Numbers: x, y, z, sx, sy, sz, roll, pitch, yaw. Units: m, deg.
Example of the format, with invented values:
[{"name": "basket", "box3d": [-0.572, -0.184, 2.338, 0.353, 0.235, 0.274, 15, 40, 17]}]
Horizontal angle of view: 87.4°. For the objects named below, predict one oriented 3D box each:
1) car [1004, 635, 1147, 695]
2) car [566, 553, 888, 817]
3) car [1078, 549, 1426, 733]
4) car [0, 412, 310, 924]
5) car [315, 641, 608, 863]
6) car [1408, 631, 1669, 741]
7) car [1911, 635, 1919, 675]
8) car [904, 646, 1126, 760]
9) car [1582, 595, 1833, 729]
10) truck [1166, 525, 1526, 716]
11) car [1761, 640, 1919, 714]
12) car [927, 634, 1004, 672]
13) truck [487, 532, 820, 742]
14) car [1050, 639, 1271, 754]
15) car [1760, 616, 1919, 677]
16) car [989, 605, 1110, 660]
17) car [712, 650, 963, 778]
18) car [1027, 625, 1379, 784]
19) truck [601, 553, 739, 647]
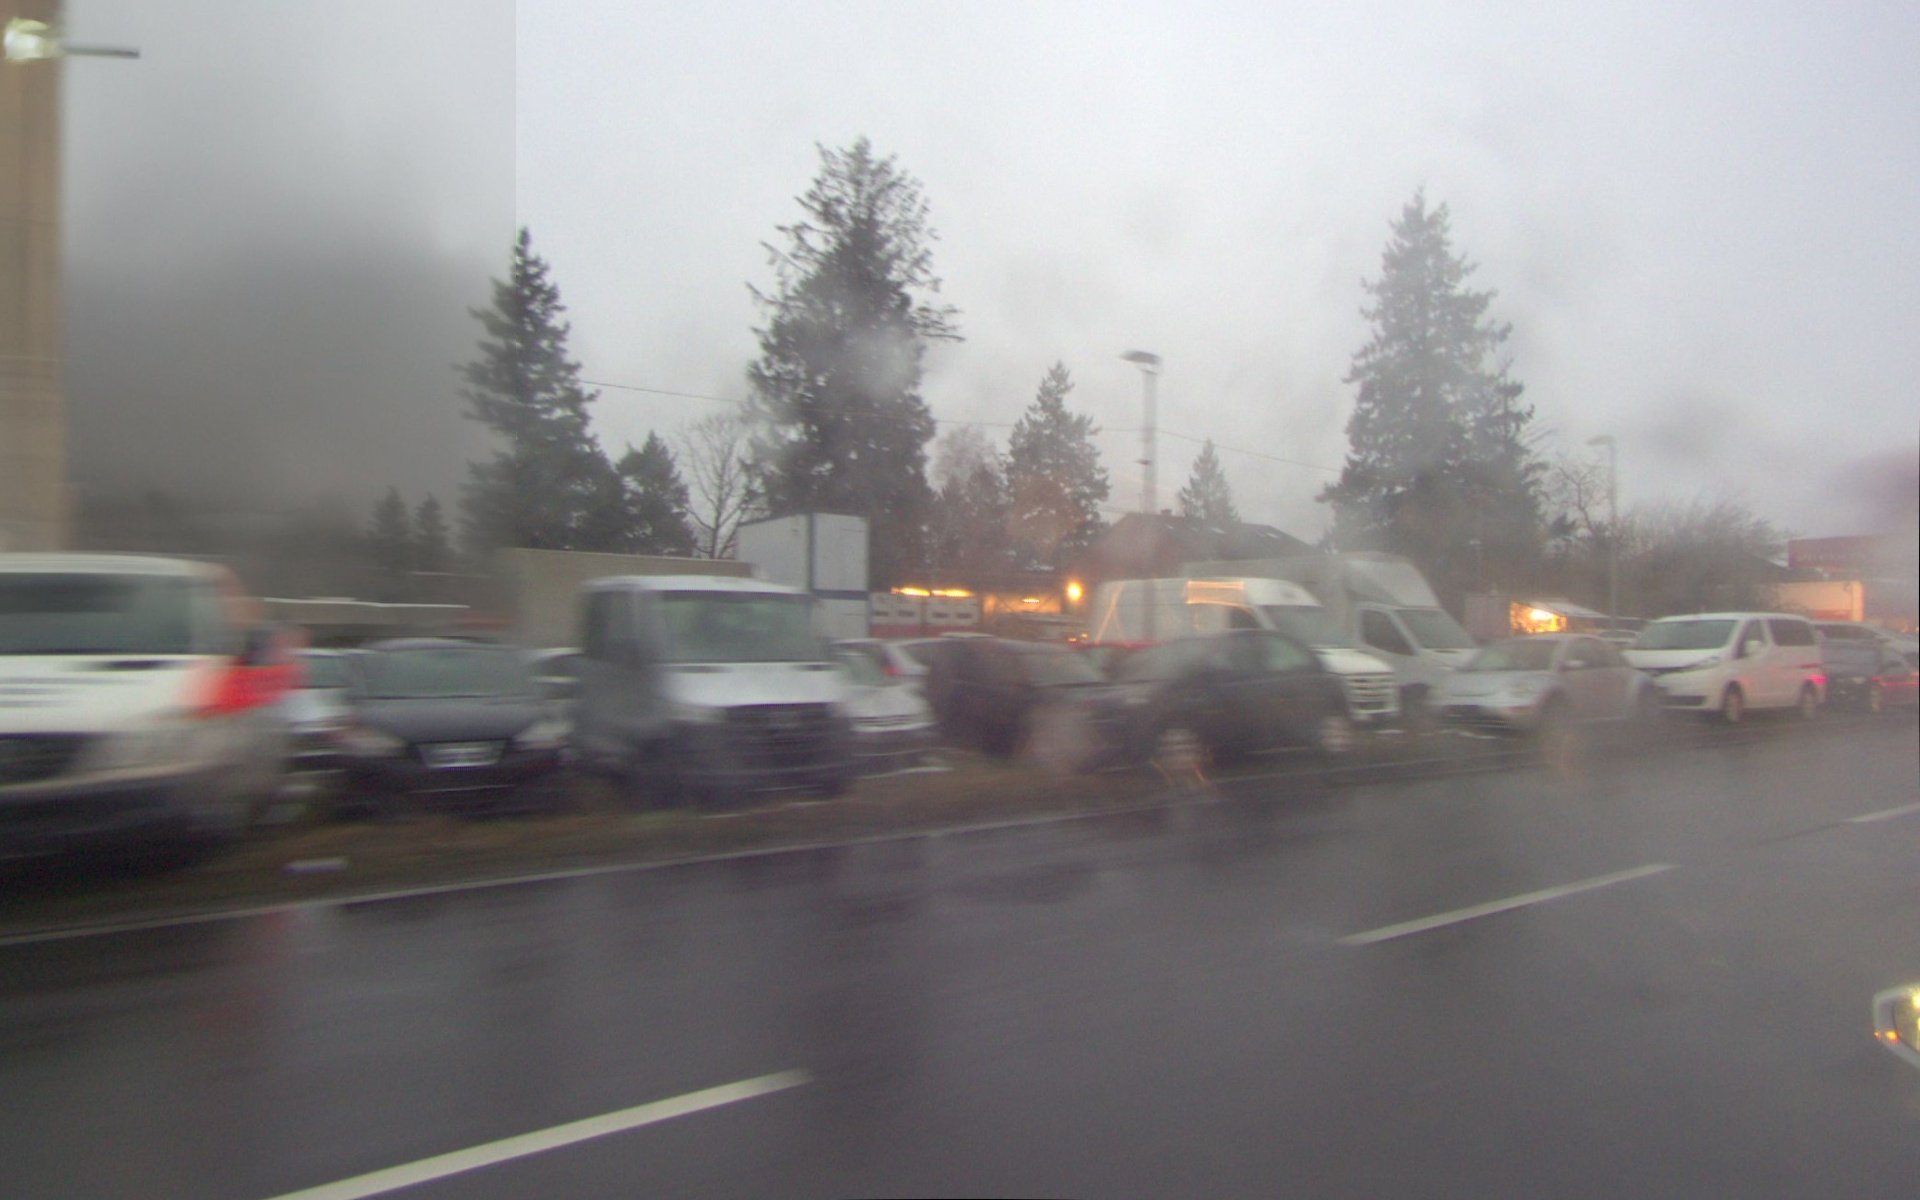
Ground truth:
[{"name": "car", "box3d": [2.976, 1.612, 25.728, 3.414, 1.399, 1.603, 1, -1, -33]}, {"name": "car", "box3d": [-2.839, 0.831, 11.048, 2.034, 2.178, 5.122, 1, -3, -30]}, {"name": "car", "box3d": [4.822, 0.687, 17.752, 2.172, 2.673, 5.998, 1, -2, -32]}, {"name": "car", "box3d": [-6.564, 0.476, 7.874, 2.151, 2.666, 6.128, 1, -3, -30]}, {"name": "car", "box3d": [-4.782, 1.170, 9.440, 1.932, 1.502, 4.727, 1, -3, -30]}, {"name": "car", "box3d": [8.573, 1.184, 14.848, 3.793, 1.431, 1.643, 1, -2, -29]}, {"name": "car", "box3d": [37.281, 2.066, 36.431, 1.757, 1.479, 3.750, 1, 0, -33]}, {"name": "car", "box3d": [0.683, 1.363, 14.286, 1.466, 1.346, 3.282, 2, -2, -35]}, {"name": "car", "box3d": [12.813, 1.004, 17.171, 4.430, 2.040, 1.827, 1, -1, -29]}, {"name": "truck", "box3d": [7.397, 0.423, 20.316, 2.308, 3.183, 6.823, 1, -1, -32]}, {"name": "car", "box3d": [17.620, 1.529, 19.852, 4.212, 1.338, 1.561, 4, -4, -33]}, {"name": "car", "box3d": [0.172, 1.788, 34.496, 1.330, 1.234, 2.783, 1, -1, -34]}, {"name": "truck", "box3d": [-5.766, 0.720, 19.332, 5.794, 3.499, 2.018, 1, -4, -35]}, {"name": "car", "box3d": [2.941, 1.365, 15.277, 1.483, 1.512, 3.208, 1, -2, -34]}, {"name": "car", "box3d": [27.060, 1.355, 30.084, 1.990, 1.699, 4.506, 1, -1, -34]}, {"name": "car", "box3d": [3.940, 1.410, 43.726, 5.237, 2.292, 1.980, 1, -2, -36]}, {"name": "car", "box3d": [-1.832, 1.429, 13.851, 1.823, 1.401, 3.962, 0, -2, -34]}, {"name": "car", "box3d": [2.739, 1.037, 11.173, 3.698, 1.438, 1.643, 0, -1, -31]}, {"name": "truck", "box3d": [-9.207, 0.024, 31.680, 2.220, 2.732, 4.662, 1, -1, -44]}]
